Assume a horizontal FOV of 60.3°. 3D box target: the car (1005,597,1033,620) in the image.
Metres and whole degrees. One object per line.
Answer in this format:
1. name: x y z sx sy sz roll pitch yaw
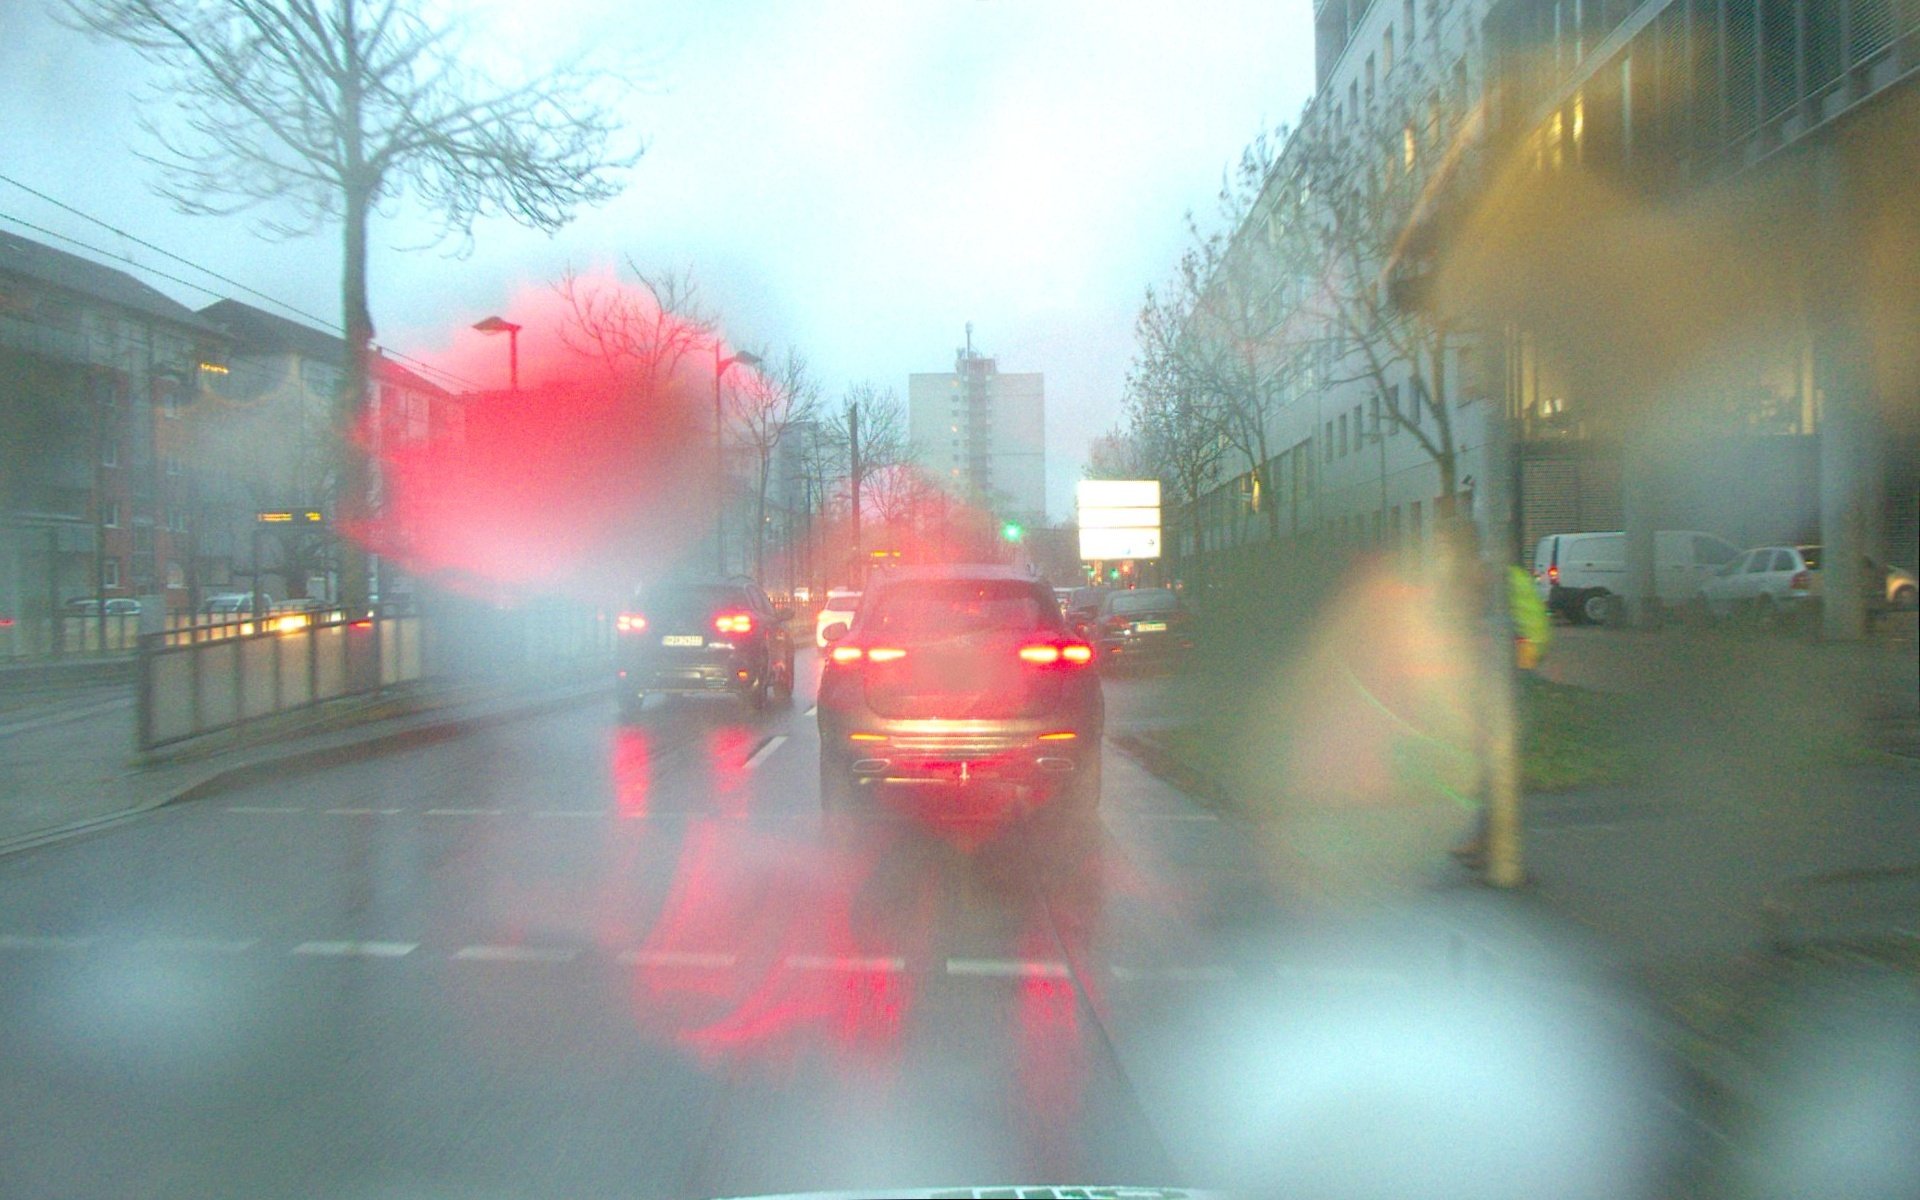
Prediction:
1. car: 4.045 0.613 113.187 1.733 1.528 3.370 0 -1 5

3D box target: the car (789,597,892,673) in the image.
1. car: -2.721 0.801 38.609 1.952 1.671 4.023 1 -1 2

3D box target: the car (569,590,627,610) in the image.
1. car: -25.326 0.001 115.760 3.722 1.390 1.697 1 -1 -2

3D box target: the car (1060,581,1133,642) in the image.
1. car: 3.356 0.240 41.095 1.717 1.427 4.252 0 1 4

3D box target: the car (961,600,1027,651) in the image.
1. car: 1.048 0.725 48.837 1.847 1.377 4.103 0 1 2

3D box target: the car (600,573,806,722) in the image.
1. car: -3.258 0.588 21.819 1.952 1.742 4.325 1 -1 1

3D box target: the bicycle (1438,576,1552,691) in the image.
1. bicycle: 5.663 0.351 17.624 0.539 1.135 2.166 -2 -1 2

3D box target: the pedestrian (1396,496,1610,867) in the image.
1. pedestrian: 2.875 0.422 8.829 0.755 1.840 0.699 -5 -1 -1

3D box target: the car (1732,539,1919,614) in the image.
1. car: 19.836 -0.542 37.489 3.902 1.544 1.659 -2 1 9

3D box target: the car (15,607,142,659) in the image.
1. car: -27.923 1.017 52.529 1.689 1.571 4.151 1 -1 2

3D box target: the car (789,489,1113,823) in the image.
1. car: -0.061 0.364 12.087 1.953 2.010 4.067 1 -1 0

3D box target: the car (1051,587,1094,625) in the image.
1. car: 5.228 0.284 77.126 1.952 1.720 3.530 1 -1 4

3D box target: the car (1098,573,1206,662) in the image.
1. car: 3.339 0.311 29.369 1.563 1.466 4.229 1 -1 2

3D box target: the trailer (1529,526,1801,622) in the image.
1. trailer: 14.987 -0.563 35.423 4.959 1.944 2.132 0 2 8

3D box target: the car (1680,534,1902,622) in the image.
1. car: 14.350 -0.324 28.861 1.598 1.395 4.530 1 -1 0
